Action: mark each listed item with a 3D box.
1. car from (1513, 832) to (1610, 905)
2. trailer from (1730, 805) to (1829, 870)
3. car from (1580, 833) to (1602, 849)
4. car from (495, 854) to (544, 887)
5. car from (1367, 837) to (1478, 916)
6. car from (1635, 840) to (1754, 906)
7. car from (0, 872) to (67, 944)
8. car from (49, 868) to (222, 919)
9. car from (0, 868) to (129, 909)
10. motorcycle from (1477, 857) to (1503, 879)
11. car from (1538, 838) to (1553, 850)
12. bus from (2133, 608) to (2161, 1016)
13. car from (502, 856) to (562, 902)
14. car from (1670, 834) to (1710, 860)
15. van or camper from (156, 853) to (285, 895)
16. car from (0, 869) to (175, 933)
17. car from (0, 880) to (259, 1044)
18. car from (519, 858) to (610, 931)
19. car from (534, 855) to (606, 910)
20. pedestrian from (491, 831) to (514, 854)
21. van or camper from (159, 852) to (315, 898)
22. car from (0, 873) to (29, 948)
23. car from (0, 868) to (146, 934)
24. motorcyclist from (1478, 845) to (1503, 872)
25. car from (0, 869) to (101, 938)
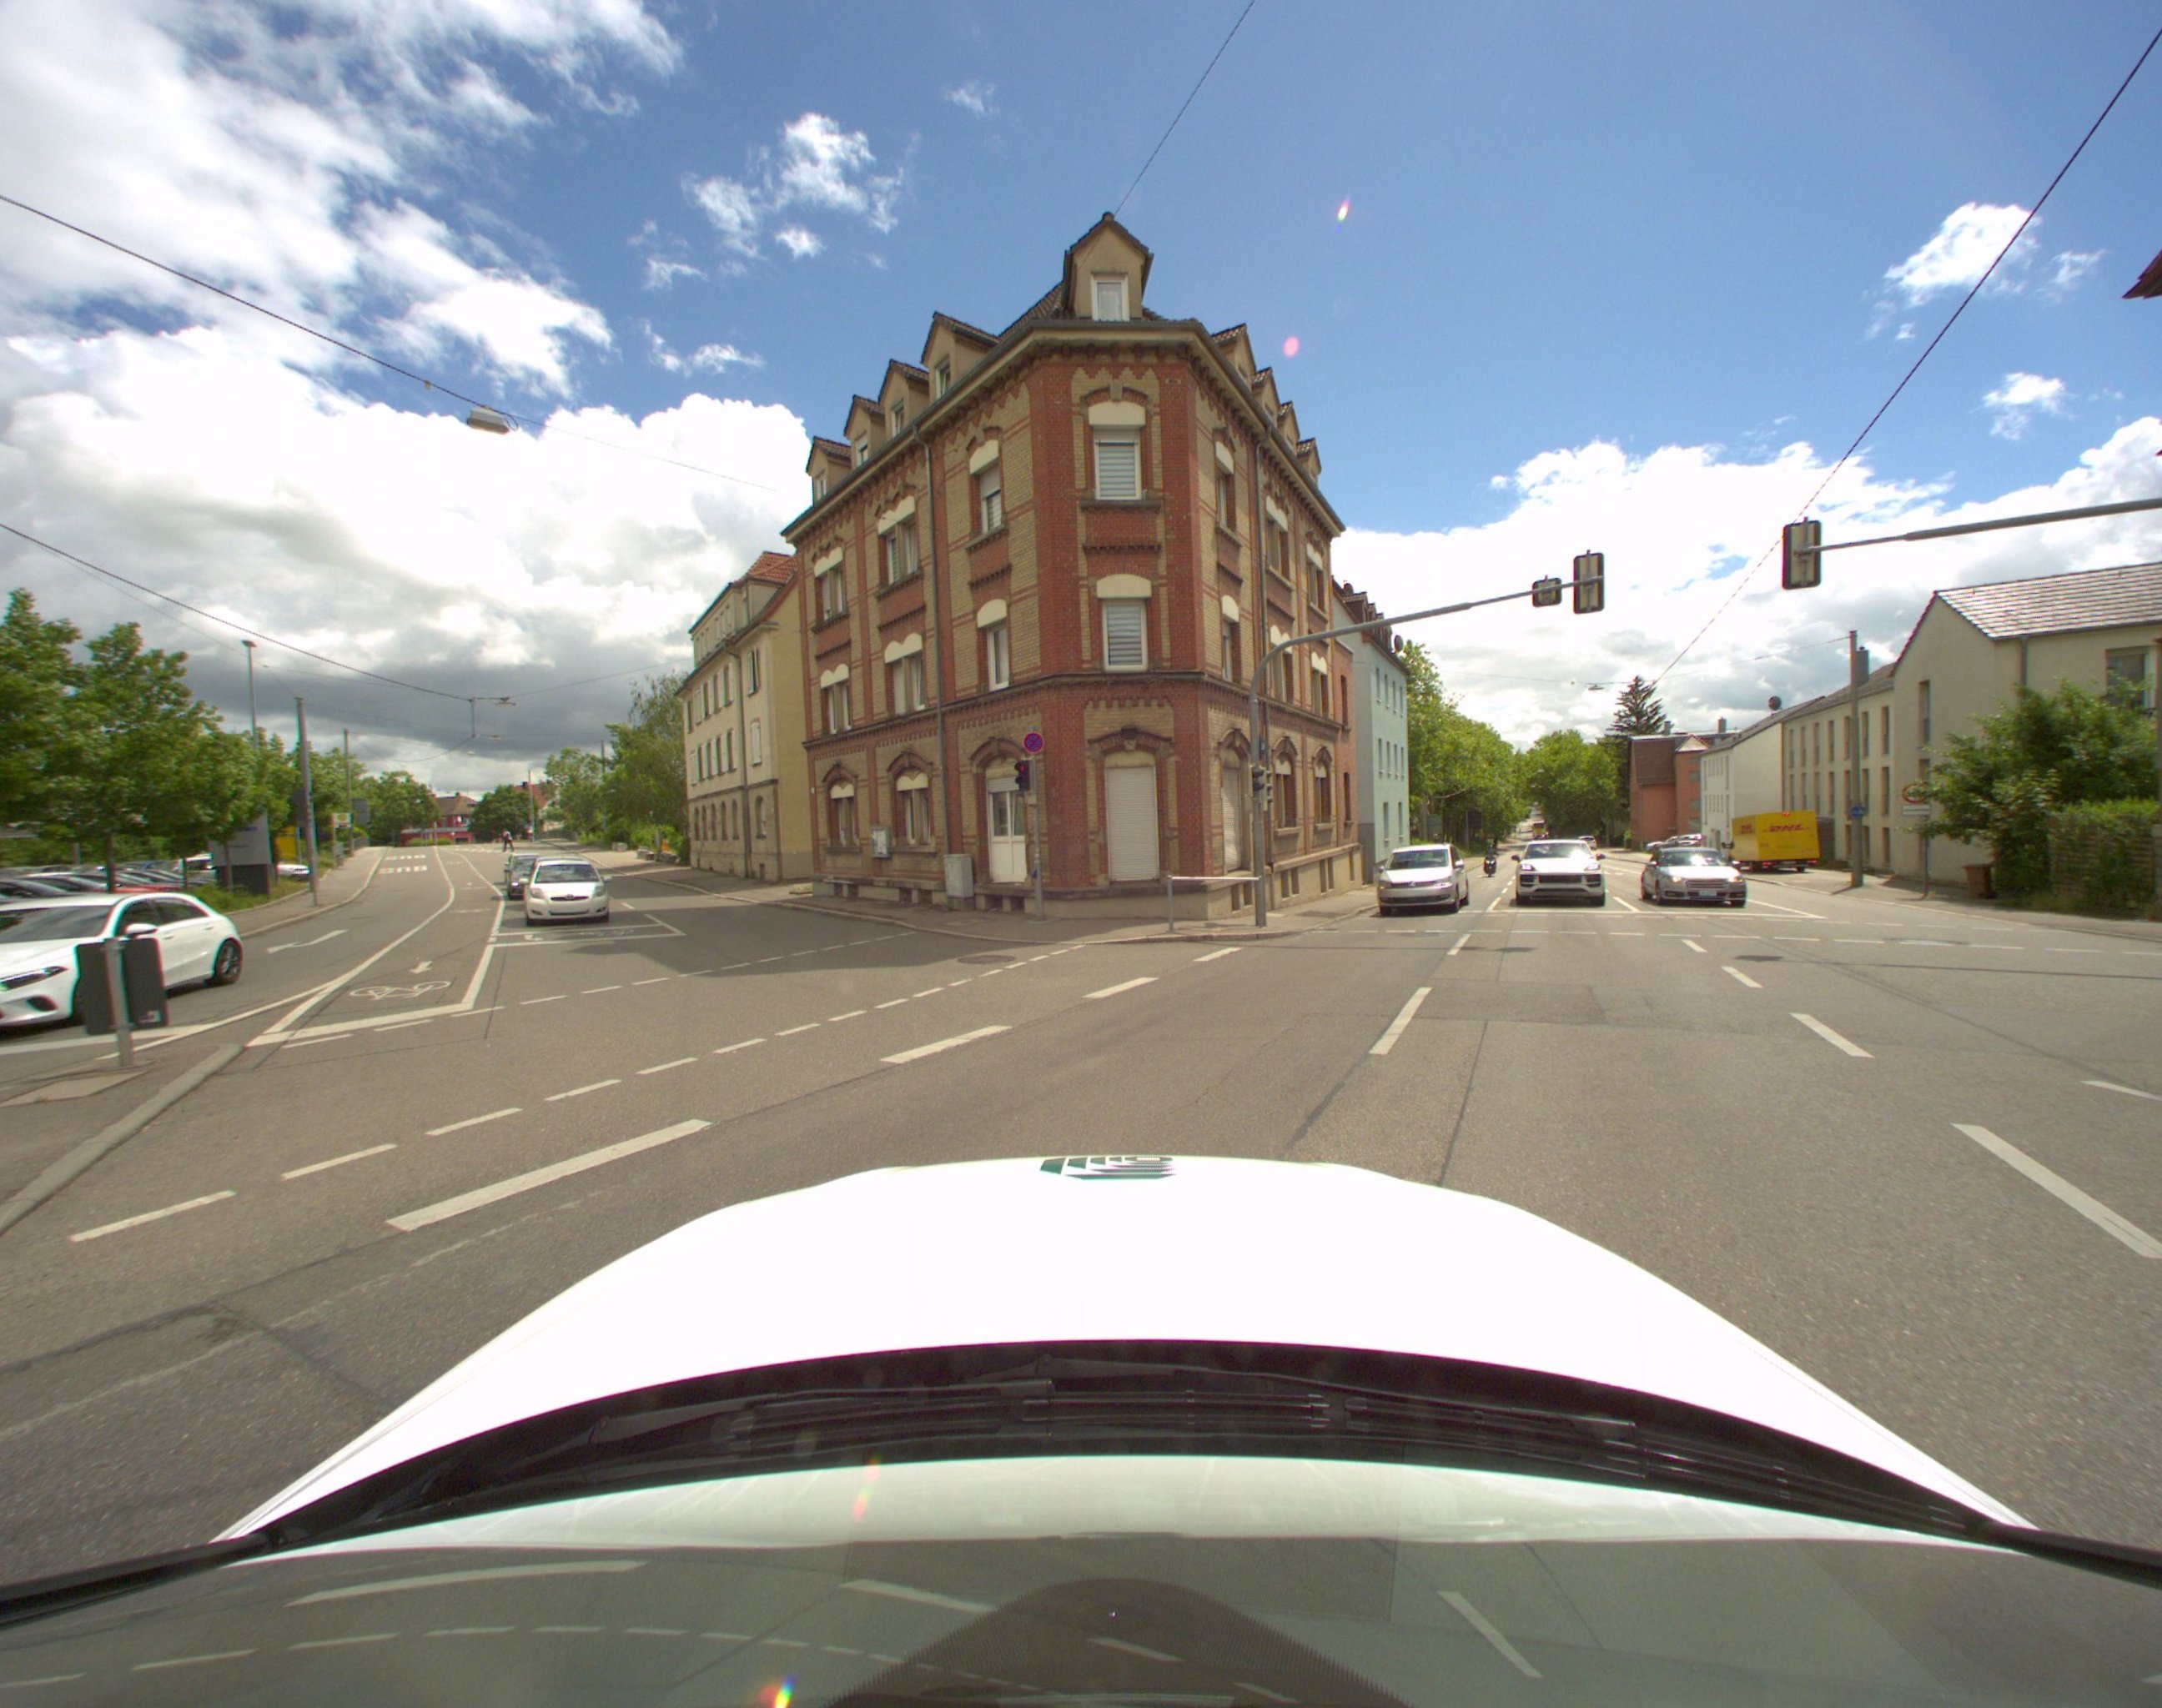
[{"bbox_3d":[12.658,0.340,21.624,1.974,1.717,4.641,-2,0,29],"label":"car"},{"bbox_3d":[33.821,-0.719,39.695,2.958,2.876,6.771,-1,-1,35],"label":"trailer"},{"bbox_3d":[58.022,-1.434,92.574,1.974,1.717,4.642,-2,0,33],"label":"car"},{"bbox_3d":[-28.519,0.806,41.307,1.733,1.581,3.953,-1,0,-39],"label":"car"},{"bbox_3d":[8.840,0.503,20.831,1.974,1.717,4.641,-5,-2,29],"label":"car"},{"bbox_3d":[15.194,0.393,20.370,1.833,1.476,3.995,0,1,29],"label":"car"},{"bbox_3d":[-25.999,1.354,17.858,4.314,1.497,1.792,-5,4,-38],"label":"car"},{"bbox_3d":[-34.885,1.406,30.226,3.867,1.461,1.752,-5,4,-40],"label":"car"},{"bbox_3d":[-43.703,1.453,34.181,1.987,1.436,4.553,-1,3,32],"label":"car"},{"bbox_3d":[21.331,0.726,42.420,0.931,1.049,3.345,-1,0,31],"label":"motorcycle"},{"bbox_3d":[71.351,-1.590,125.142,1.974,1.717,4.641,-2,0,30],"label":"car"},{"bbox_3d":[7.504,-0.380,0.830,2.932,3.388,12.501,-1,-1,28],"label":"bus"},{"bbox_3d":[-20.794,0.906,30.816,1.732,1.581,4.205,-1,0,-35],"label":"car"},{"bbox_3d":[43.840,-0.542,58.678,1.974,1.717,4.642,-2,0,33],"label":"car"},{"bbox_3d":[-46.800,1.024,44.501,1.981,1.963,4.950,-1,2,-6],"label":"van or camper"},{"bbox_3d":[-30.014,1.365,24.155,3.859,1.497,1.792,-5,4,-38],"label":"car"},{"bbox_3d":[-12.262,1.202,9.848,1.728,1.496,4.426,-5,2,-25],"label":"car"},{"bbox_3d":[-12.980,0.922,20.353,1.732,1.581,3.957,-1,0,-35],"label":"car"},{"bbox_3d":[-16.398,0.838,26.064,1.732,1.581,4.272,-1,0,-35],"label":"car"},{"bbox_3d":[-46.771,-0.927,65.864,1.031,1.836,0.998,-1,2,-4],"label":"pedestrian"},{"bbox_3d":[-39.576,0.930,38.396,4.703,1.749,1.979,-4,3,-34],"label":"van or camper"},{"bbox_3d":[-24.459,1.325,15.992,4.242,1.497,1.792,-5,4,-38],"label":"car"},{"bbox_3d":[-28.597,1.320,21.994,4.014,1.497,1.792,-5,4,-38],"label":"car"},{"bbox_3d":[21.308,0.241,42.336,1.068,1.379,1.427,-1,0,30],"label":"motorcyclist"},{"bbox_3d":[-27.273,1.305,19.745,4.088,1.497,1.792,-5,4,-38],"label":"car"}]
